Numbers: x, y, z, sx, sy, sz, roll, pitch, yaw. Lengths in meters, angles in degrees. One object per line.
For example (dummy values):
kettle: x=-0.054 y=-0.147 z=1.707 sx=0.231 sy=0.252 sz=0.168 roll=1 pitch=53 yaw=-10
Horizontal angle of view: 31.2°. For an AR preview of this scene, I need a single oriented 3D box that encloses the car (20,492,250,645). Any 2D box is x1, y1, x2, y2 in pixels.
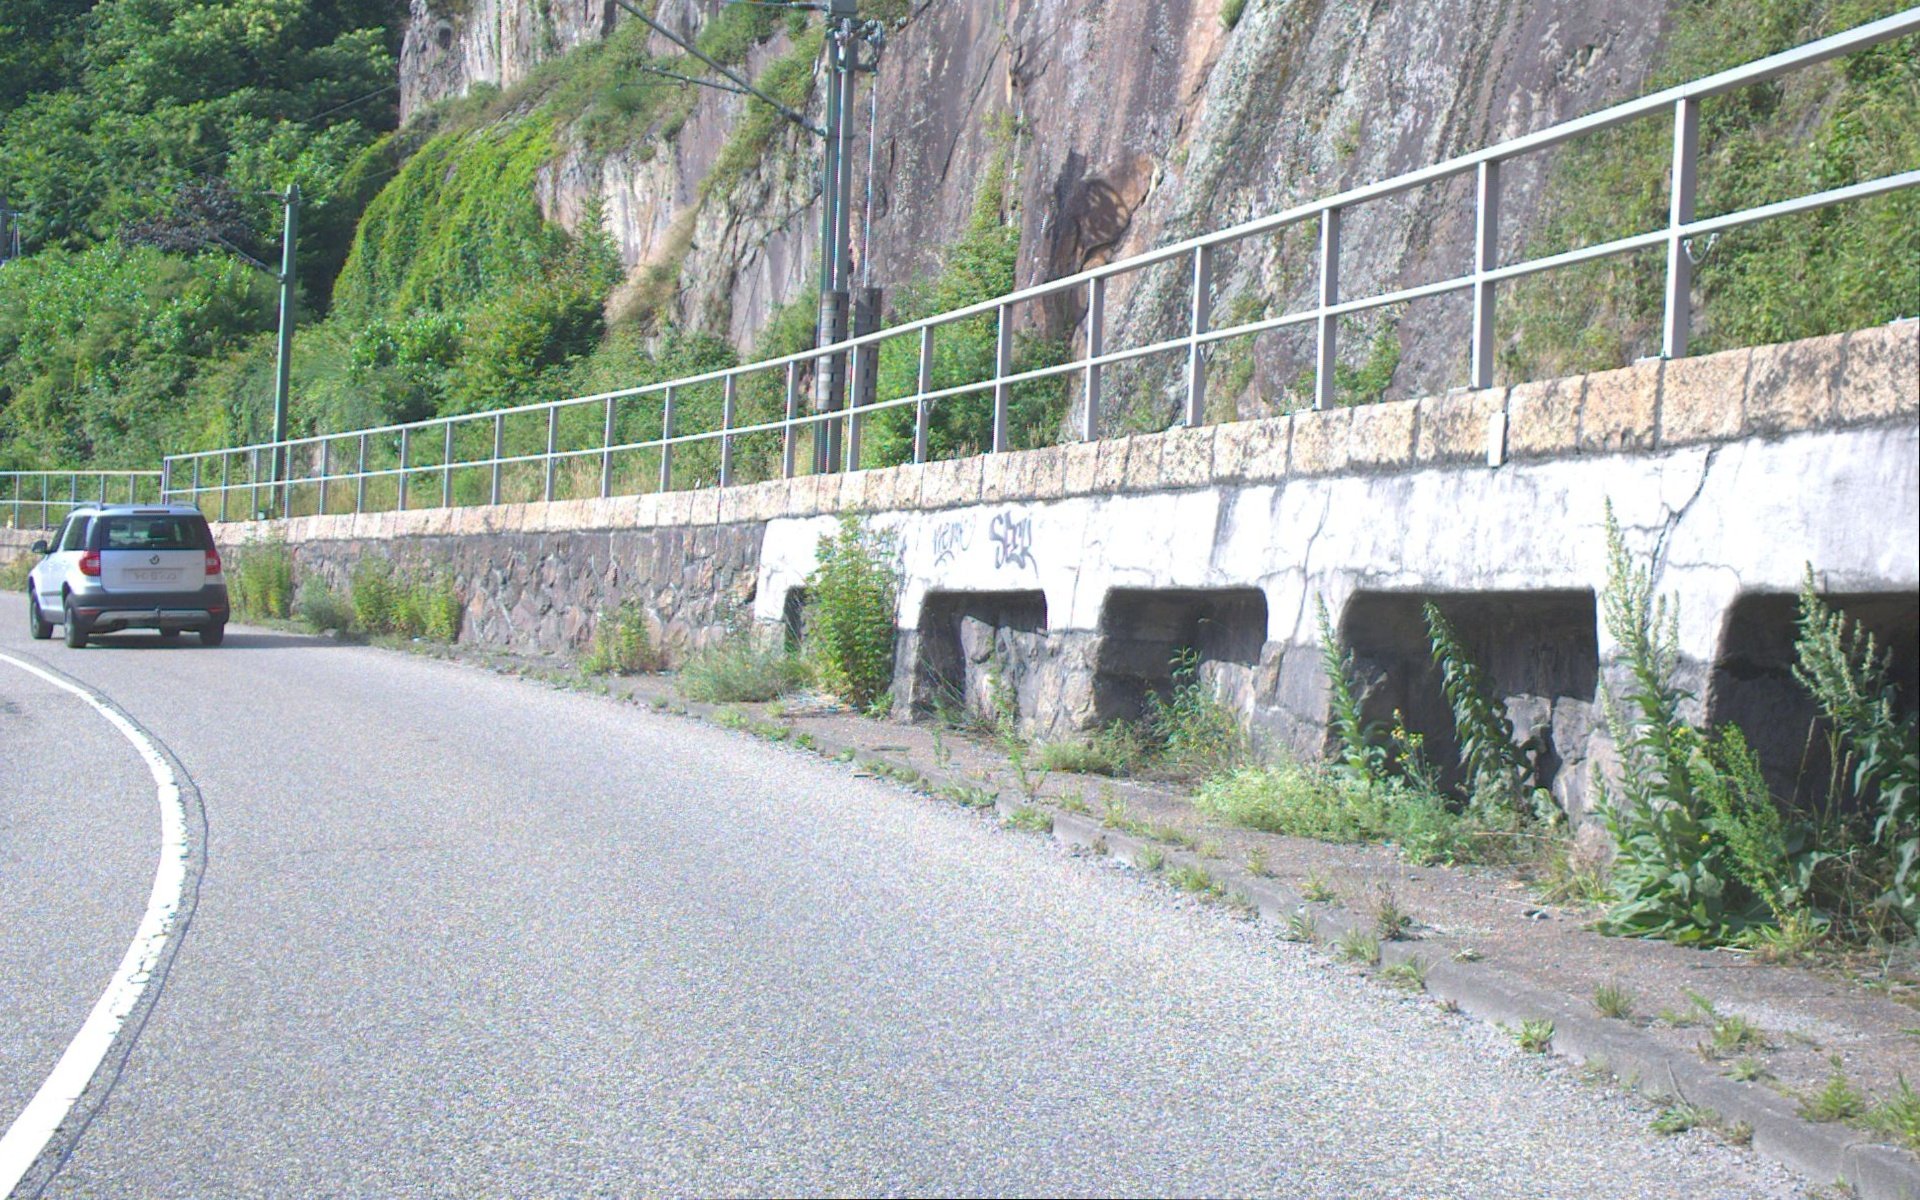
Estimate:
car: x=-9.720 y=-0.409 z=40.288 sx=1.872 sy=1.650 sz=4.001 roll=0 pitch=2 yaw=-25
